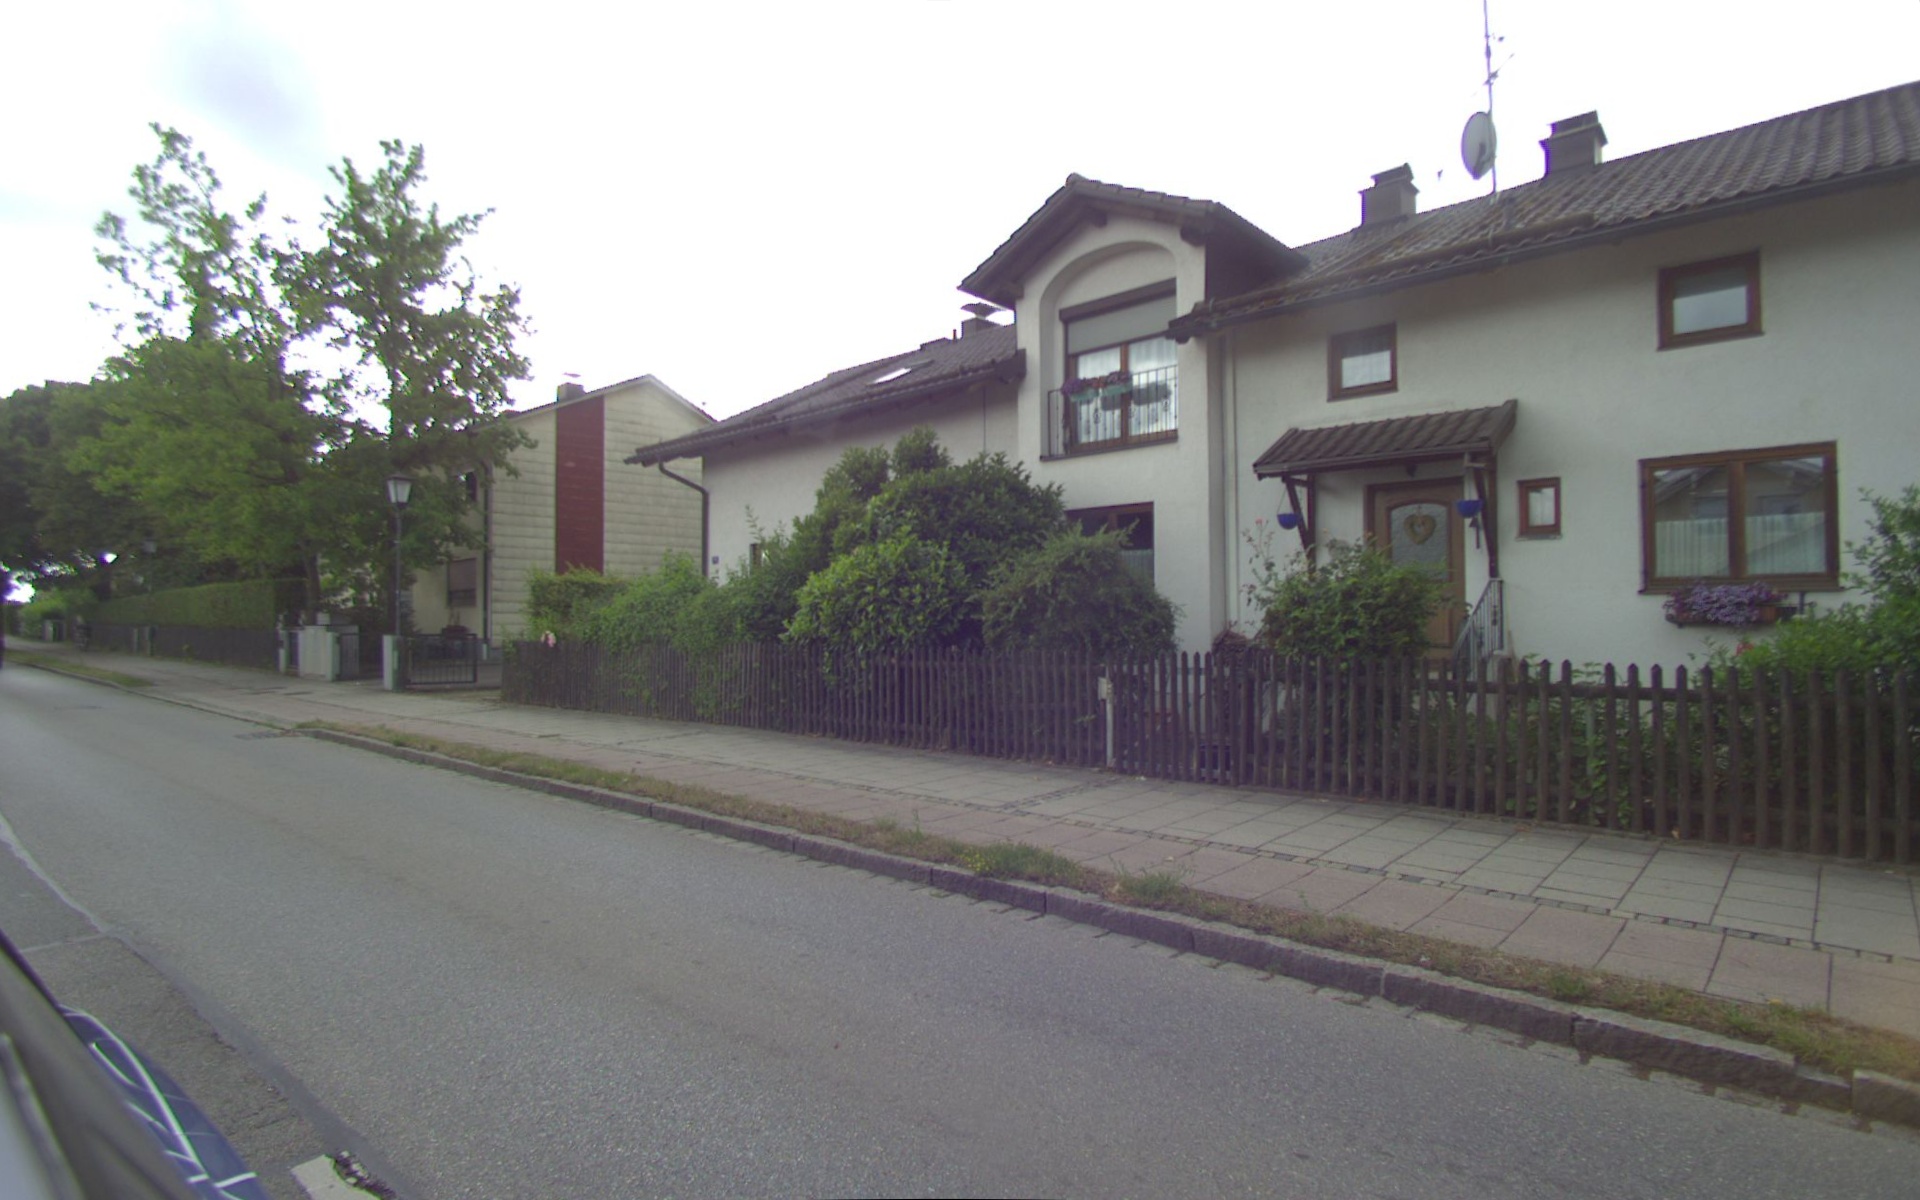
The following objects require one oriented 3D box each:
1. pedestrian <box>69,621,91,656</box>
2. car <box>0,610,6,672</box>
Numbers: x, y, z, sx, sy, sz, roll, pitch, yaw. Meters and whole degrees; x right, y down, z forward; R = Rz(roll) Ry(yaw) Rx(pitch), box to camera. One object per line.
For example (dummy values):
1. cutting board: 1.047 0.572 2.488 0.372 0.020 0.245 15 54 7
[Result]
1. pedestrian: -37.434 1.624 43.060 0.563 1.448 0.623 -1 -2 41
2. car: -31.189 1.240 31.354 4.946 1.867 1.944 -1 -2 42
